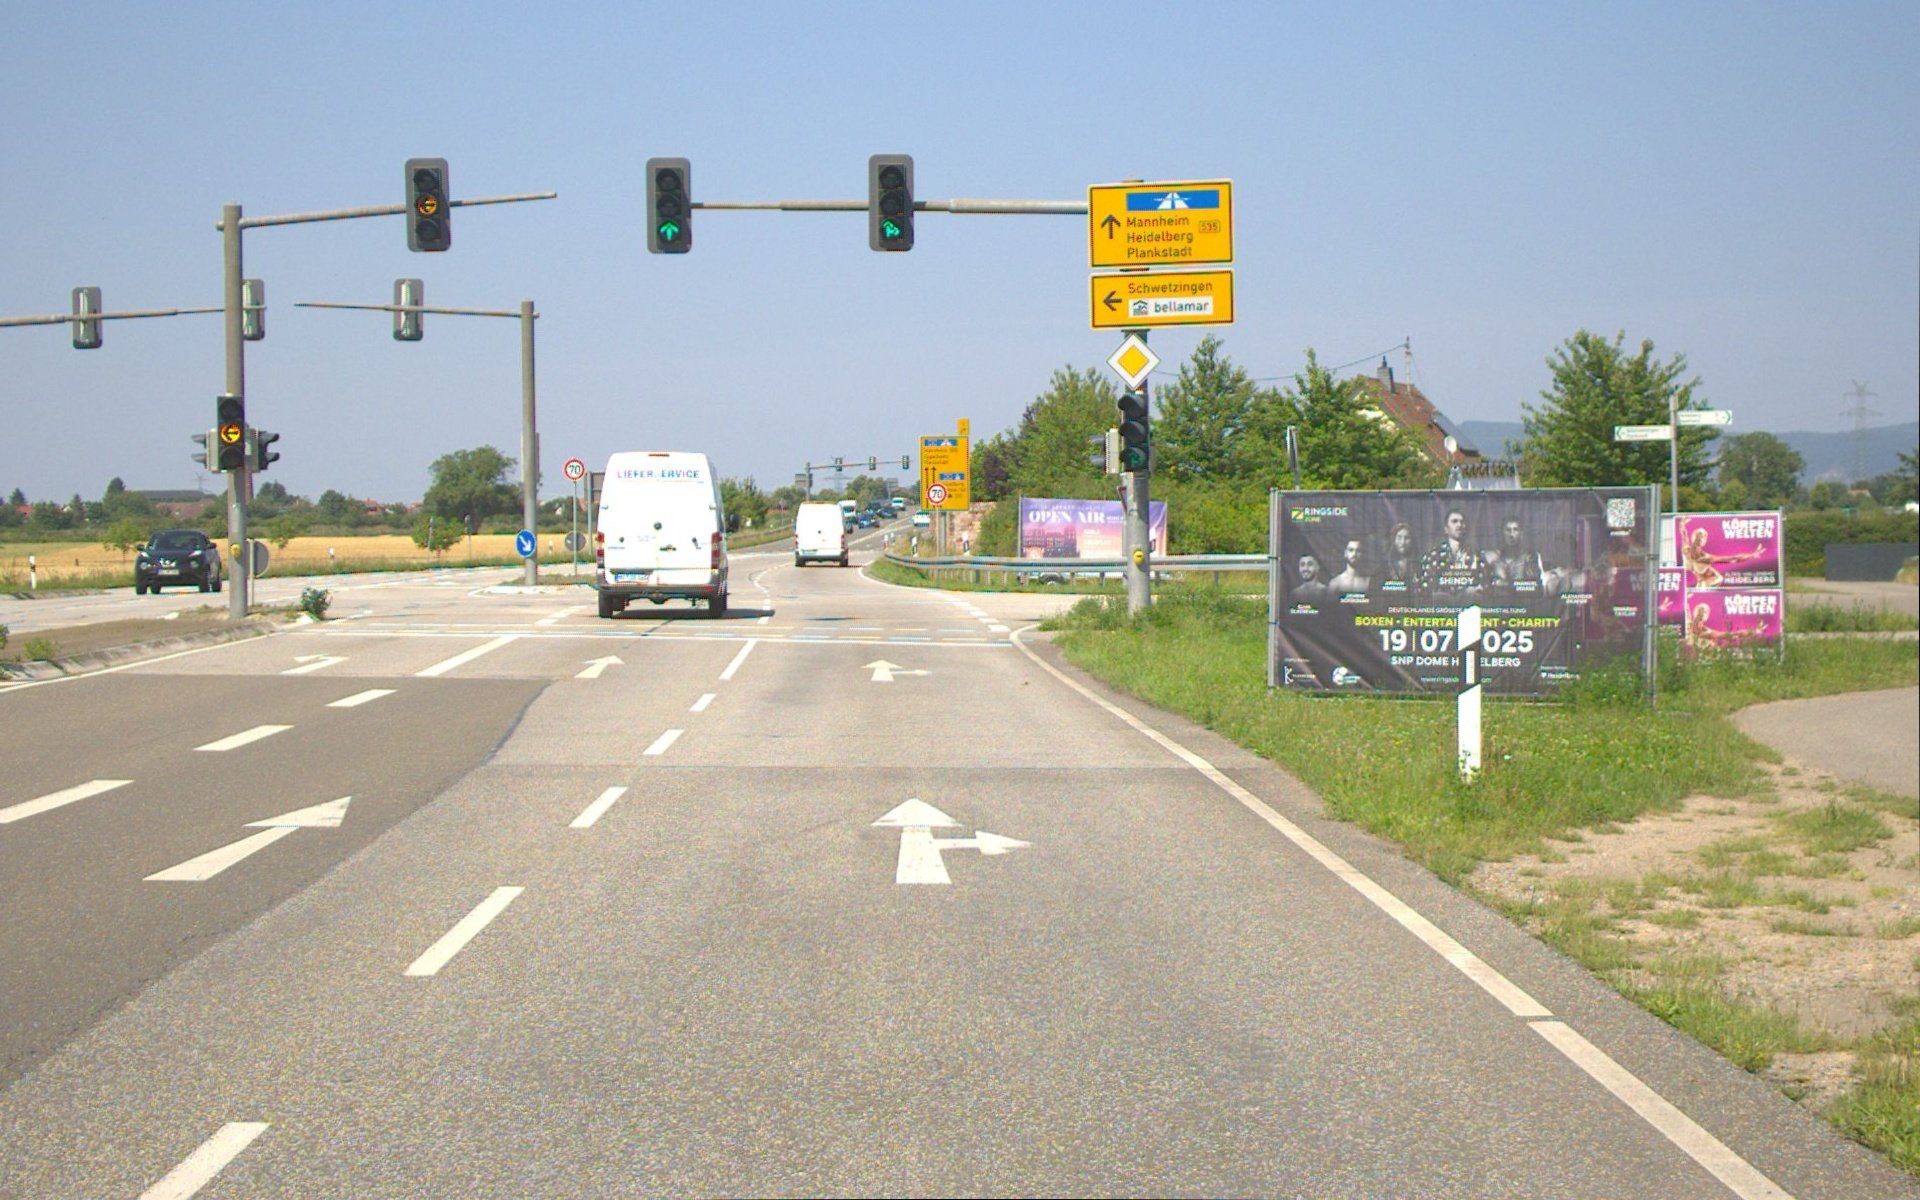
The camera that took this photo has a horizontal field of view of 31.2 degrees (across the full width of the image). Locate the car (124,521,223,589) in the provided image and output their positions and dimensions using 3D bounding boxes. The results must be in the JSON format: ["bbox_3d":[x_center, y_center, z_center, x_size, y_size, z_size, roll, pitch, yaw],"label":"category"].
[{"bbox_3d":[-19.351,-1.103,84.739,1.830,1.594,4.306,-1,1,-6],"label":"car"}]

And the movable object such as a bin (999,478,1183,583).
[{"bbox_3d":[3.025,-1.605,79.750,4.093,2.323,1.278,1,1,-6],"label":"movable object such as a bin"}]

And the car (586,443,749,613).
[{"bbox_3d":[-4.713,-1.192,56.163,2.039,2.611,5.741,0,1,1],"label":"car"}]

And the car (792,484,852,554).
[{"bbox_3d":[-5.443,-3.186,136.289,1.993,2.686,4.969,1,0,2],"label":"car"}]

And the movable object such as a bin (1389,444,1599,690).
[{"bbox_3d":[5.570,-0.350,35.493,1.523,2.354,4.421,1,1,16],"label":"movable object such as a bin"}]
